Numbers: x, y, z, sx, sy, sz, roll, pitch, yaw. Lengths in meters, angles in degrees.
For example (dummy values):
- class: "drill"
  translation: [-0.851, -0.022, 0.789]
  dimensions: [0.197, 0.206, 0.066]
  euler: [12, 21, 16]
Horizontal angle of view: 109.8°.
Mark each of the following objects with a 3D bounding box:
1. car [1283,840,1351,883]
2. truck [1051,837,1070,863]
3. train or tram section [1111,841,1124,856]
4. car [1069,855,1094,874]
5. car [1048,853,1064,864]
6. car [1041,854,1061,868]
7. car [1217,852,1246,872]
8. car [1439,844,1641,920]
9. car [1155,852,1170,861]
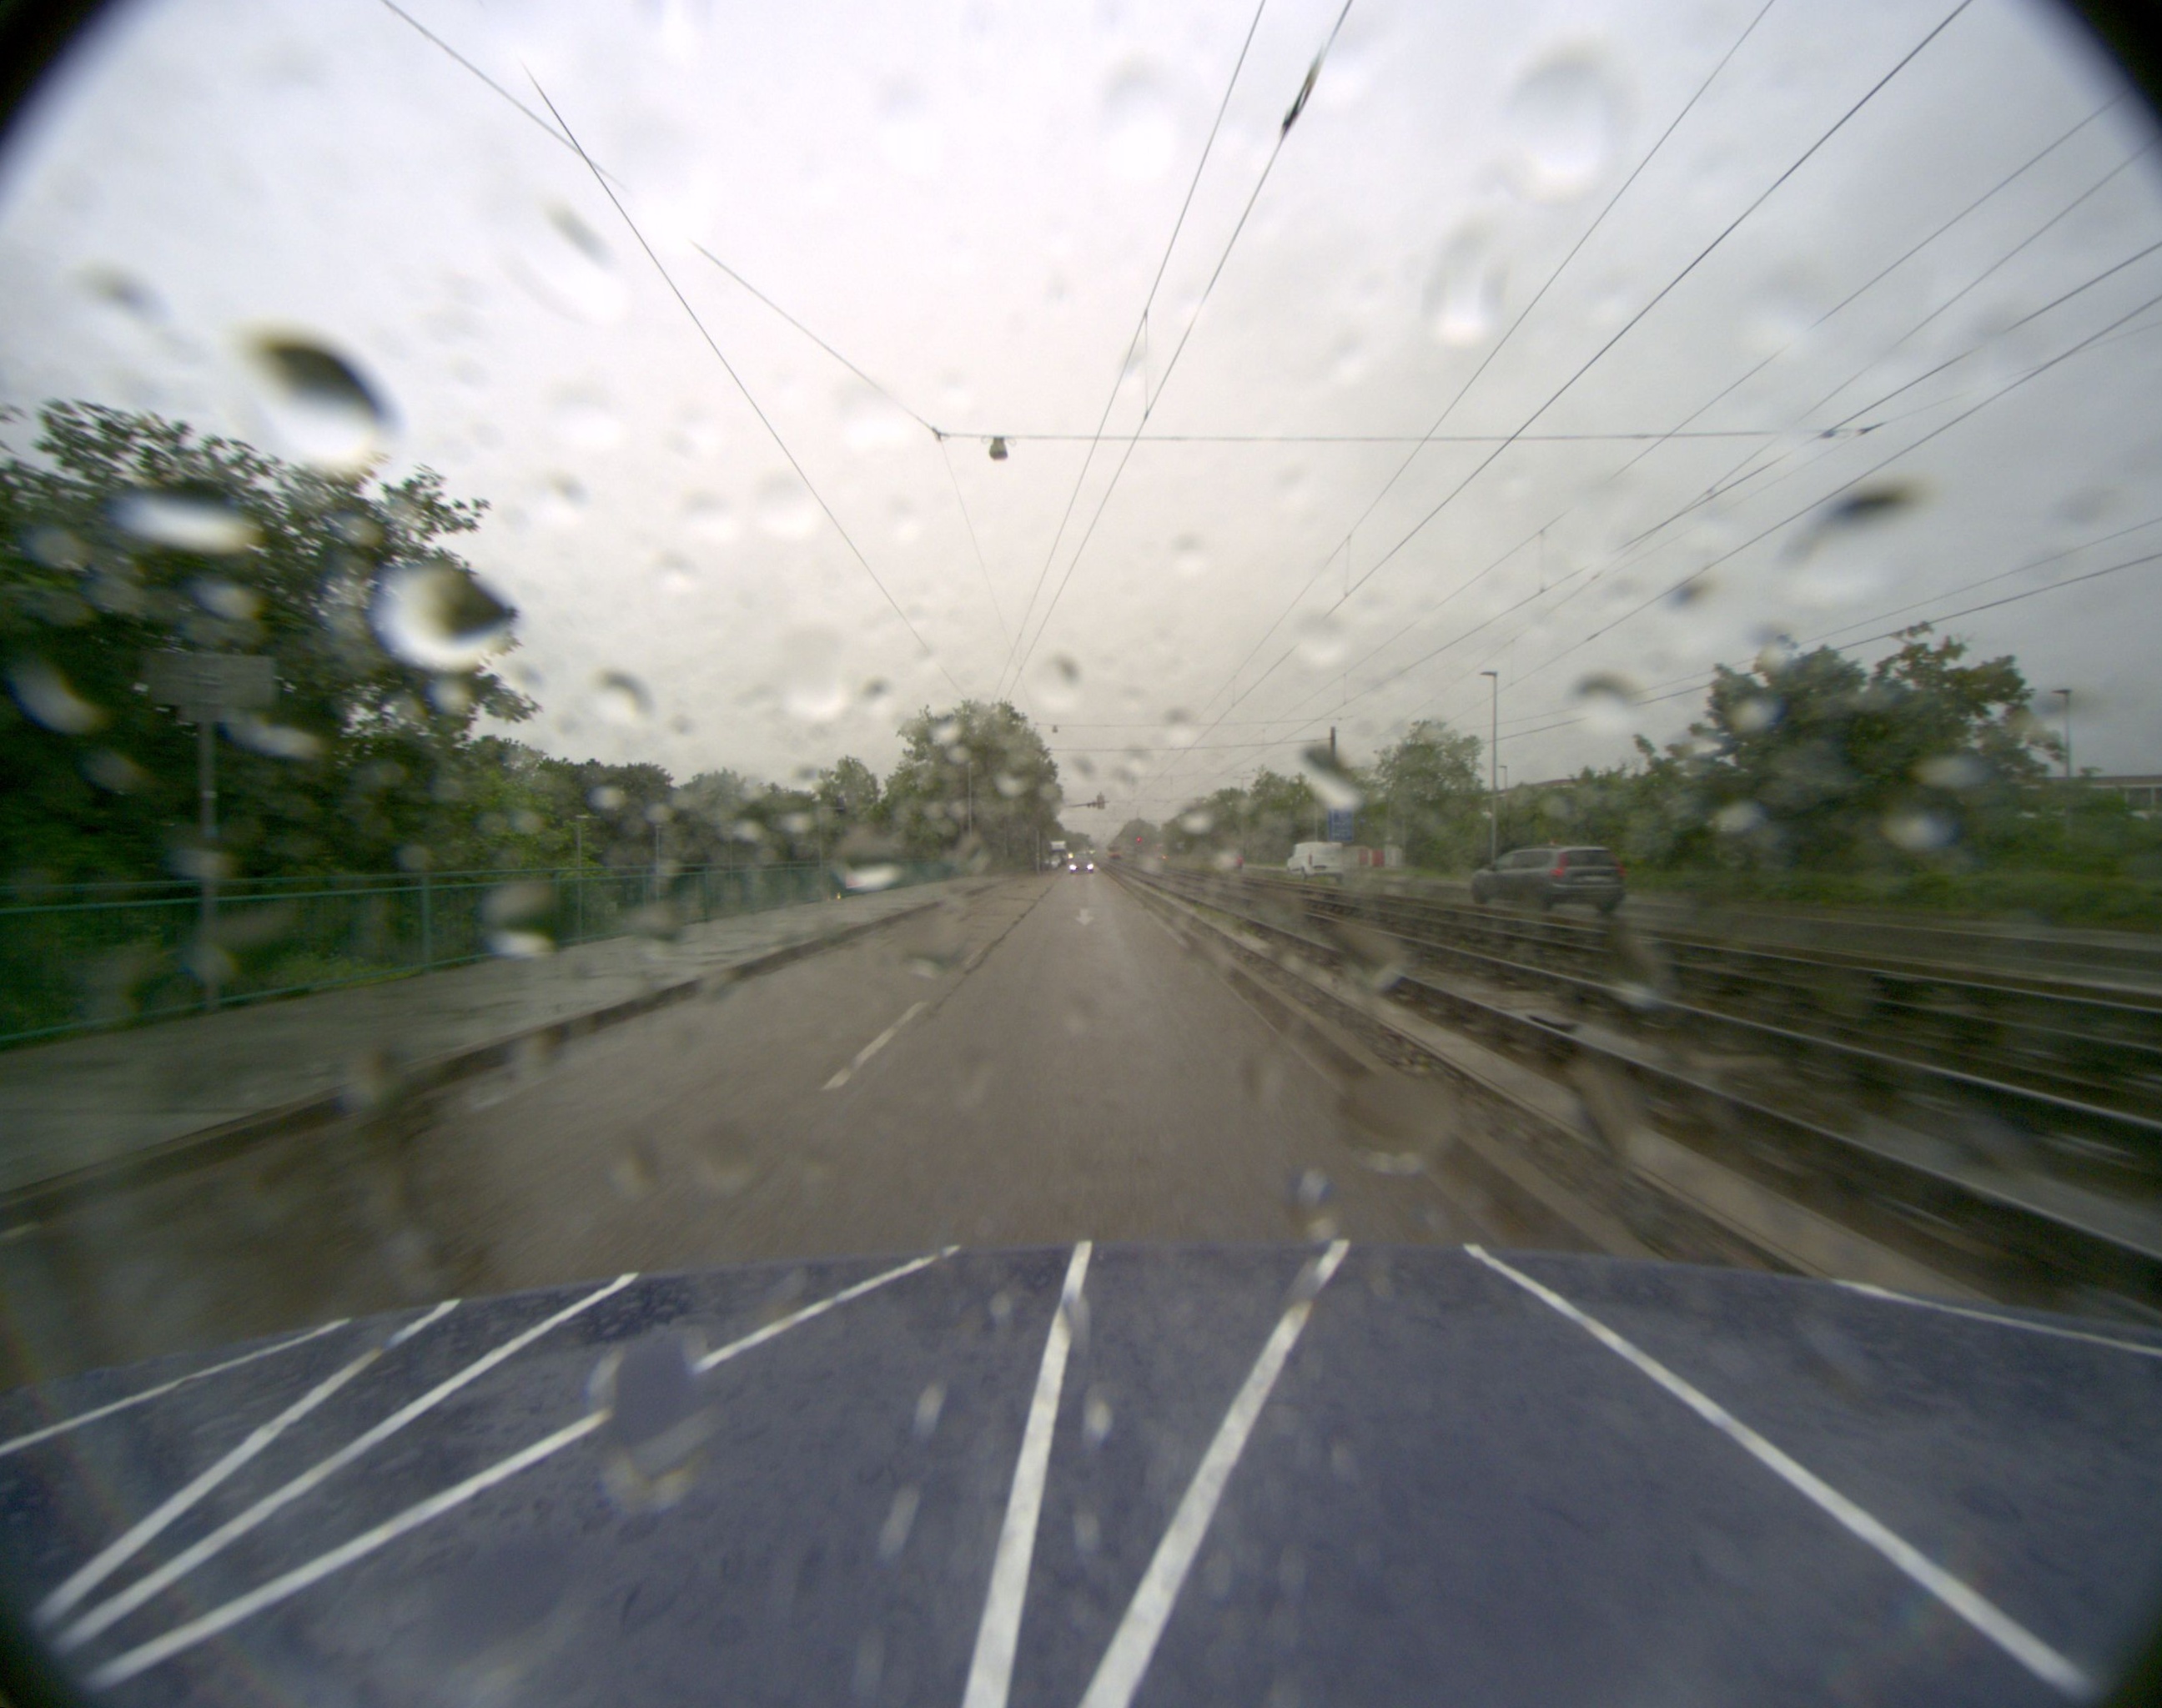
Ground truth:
- class: "car"
  translation: [12.446, 0.367, 40.452]
  dimensions: [1.998, 2.032, 5.028]
  euler: [-2, 0, 0]
- class: "truck"
  translation: [-3.183, -0.569, 120.796]
  dimensions: [2.567, 3.847, 7.846]
  euler: [-2, 0, 0]
- class: "train or tram section"
  translation: [9.248, -1.443, 194.776]
  dimensions: [2.460, 3.603, 15.104]
  euler: [-2, 1, 0]
- class: "car"
  translation: [0.074, 0.869, 63.952]
  dimensions: [1.998, 1.497, 4.196]
  euler: [-2, 0, 0]
- class: "car"
  translation: [-3.416, 0.613, 104.756]
  dimensions: [1.998, 1.497, 4.196]
  euler: [-2, 0, 0]
- class: "car"
  translation: [-3.287, 0.767, 85.163]
  dimensions: [1.998, 1.394, 4.196]
  euler: [-2, 0, 0]
- class: "car"
  translation: [13.079, 0.649, 66.339]
  dimensions: [1.728, 1.591, 3.650]
  euler: [-2, 1, 0]
- class: "car"
  translation: [11.639, 0.617, 19.841]
  dimensions: [1.998, 1.639, 5.371]
  euler: [-2, 0, 0]
- class: "car"
  translation: [14.896, 0.396, 139.099]
  dimensions: [1.999, 1.514, 4.956]
  euler: [-2, 1, -1]
